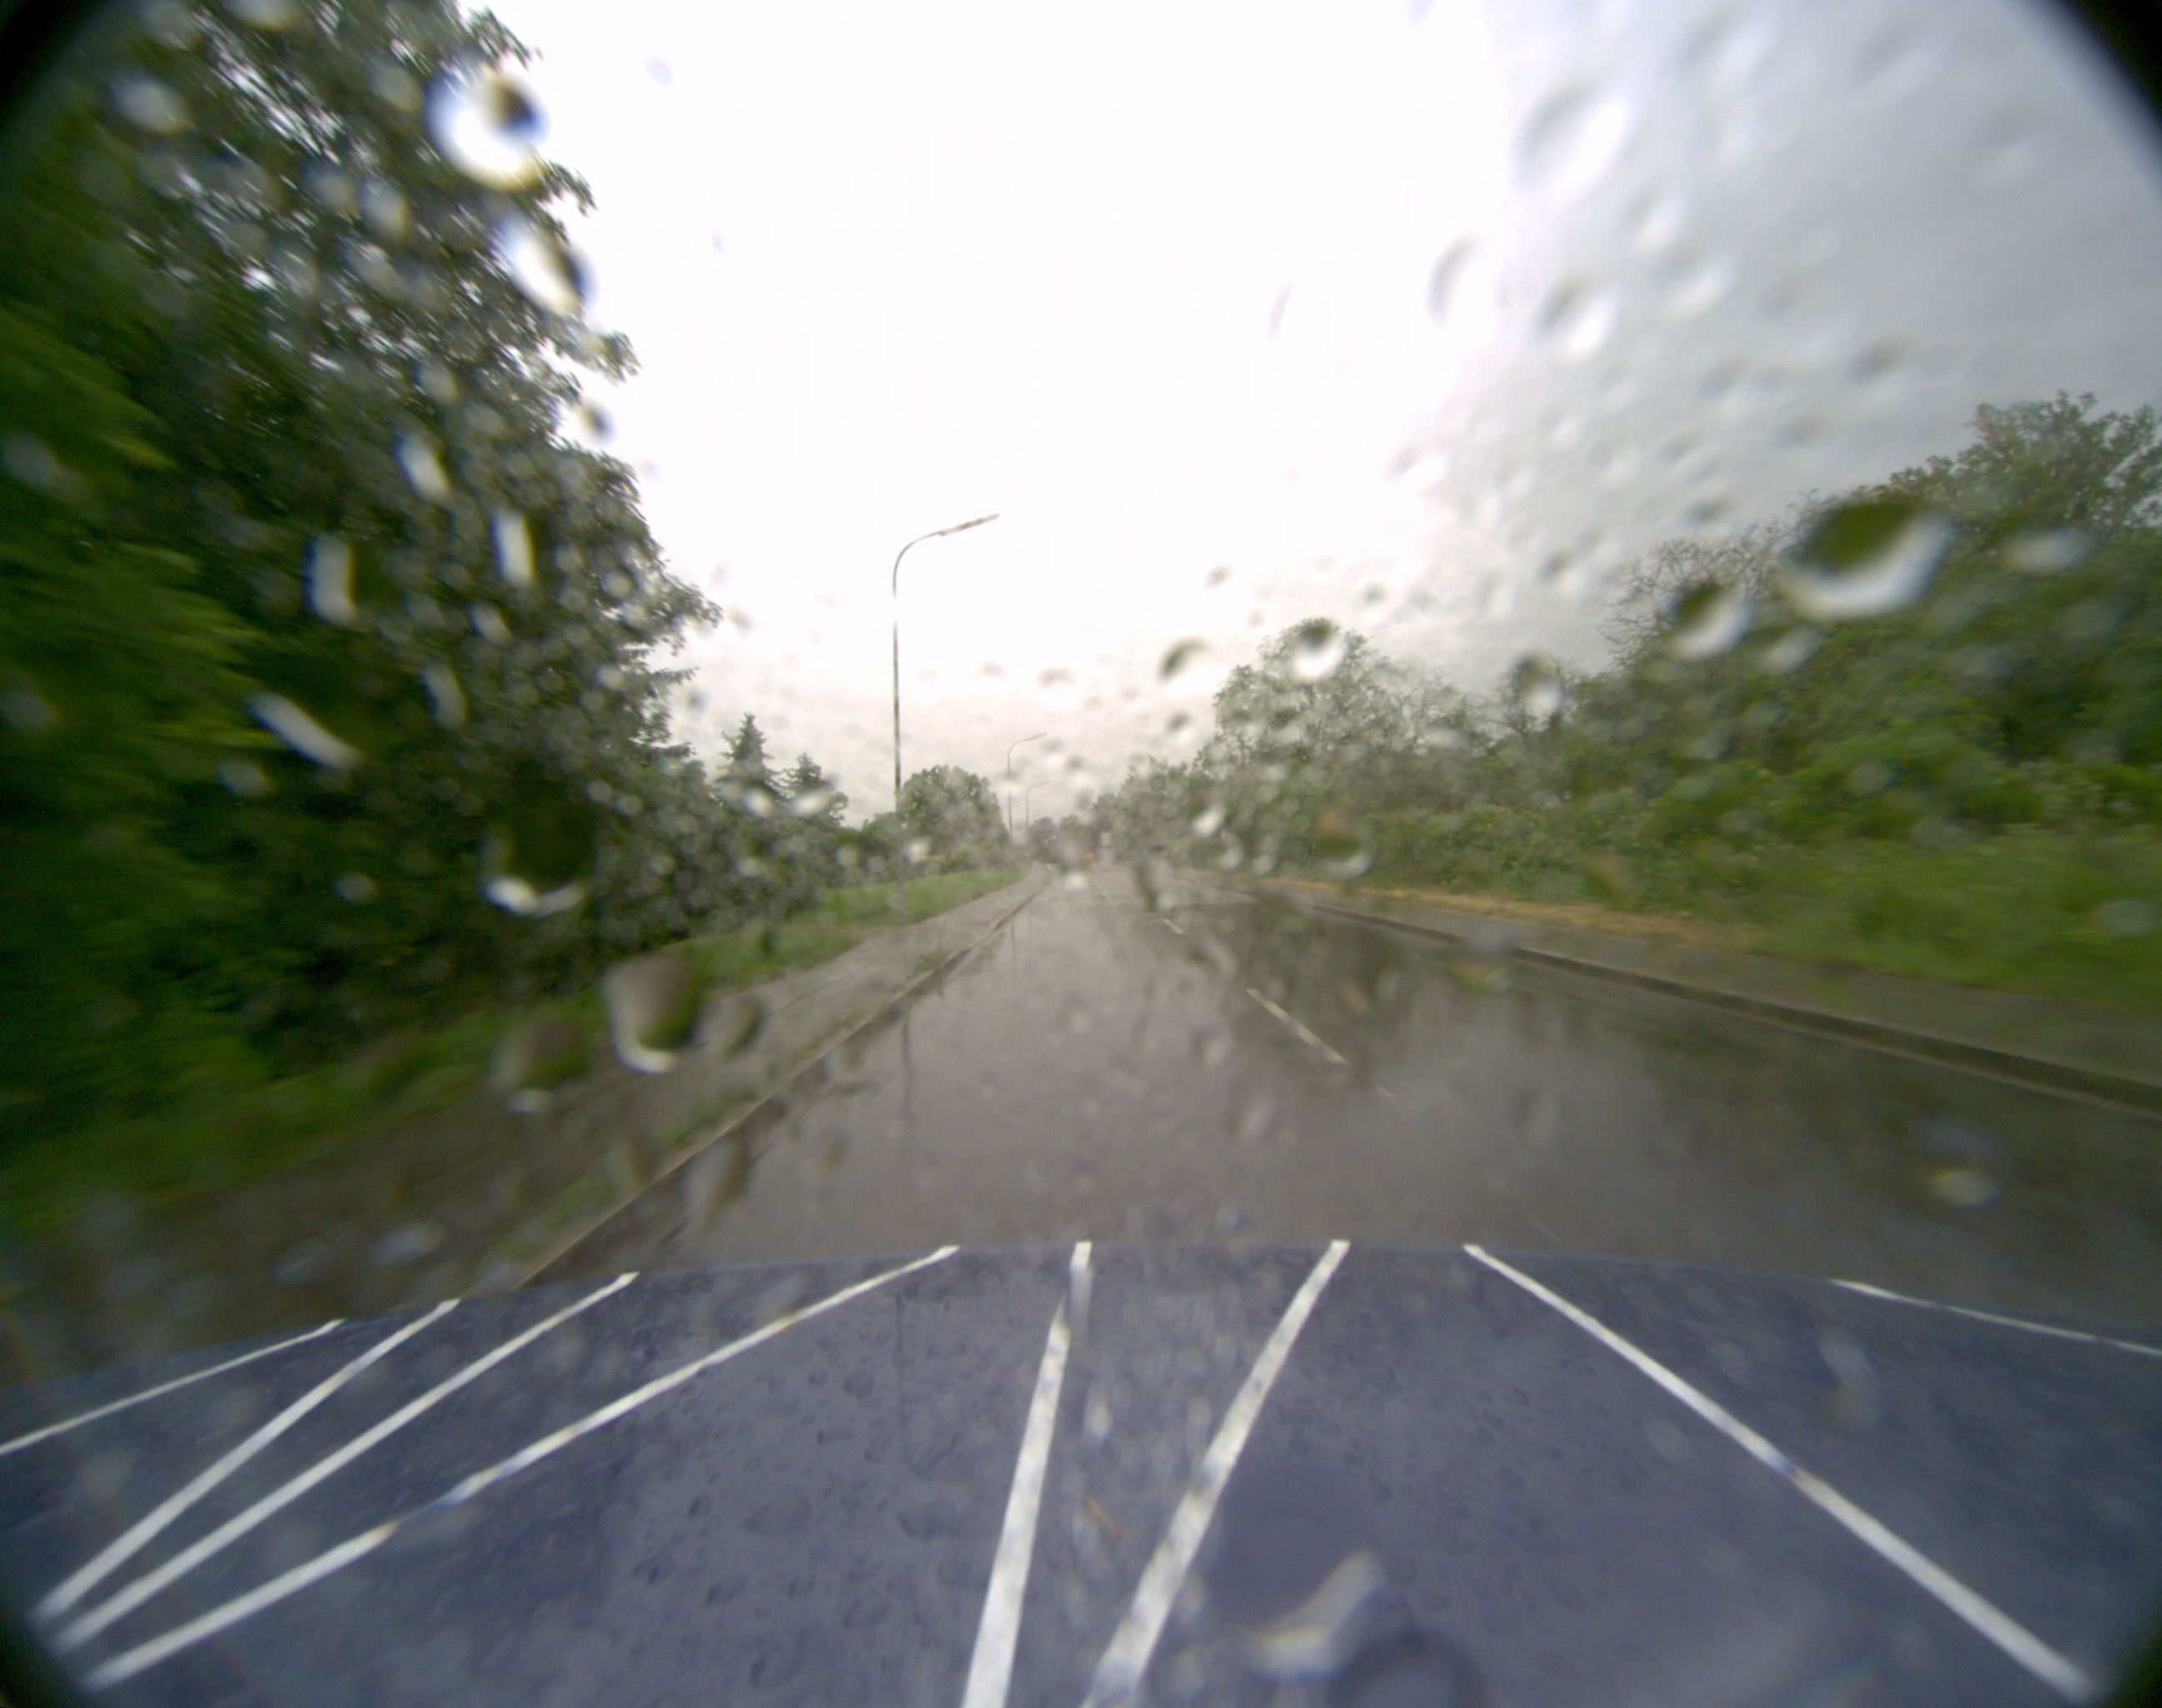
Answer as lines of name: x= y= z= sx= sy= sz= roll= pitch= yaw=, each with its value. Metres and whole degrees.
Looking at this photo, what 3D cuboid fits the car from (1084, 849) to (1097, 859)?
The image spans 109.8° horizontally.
car: x=1.842 y=0.030 z=144.018 sx=1.999 sy=1.865 sz=4.468 roll=-3 pitch=0 yaw=-3
